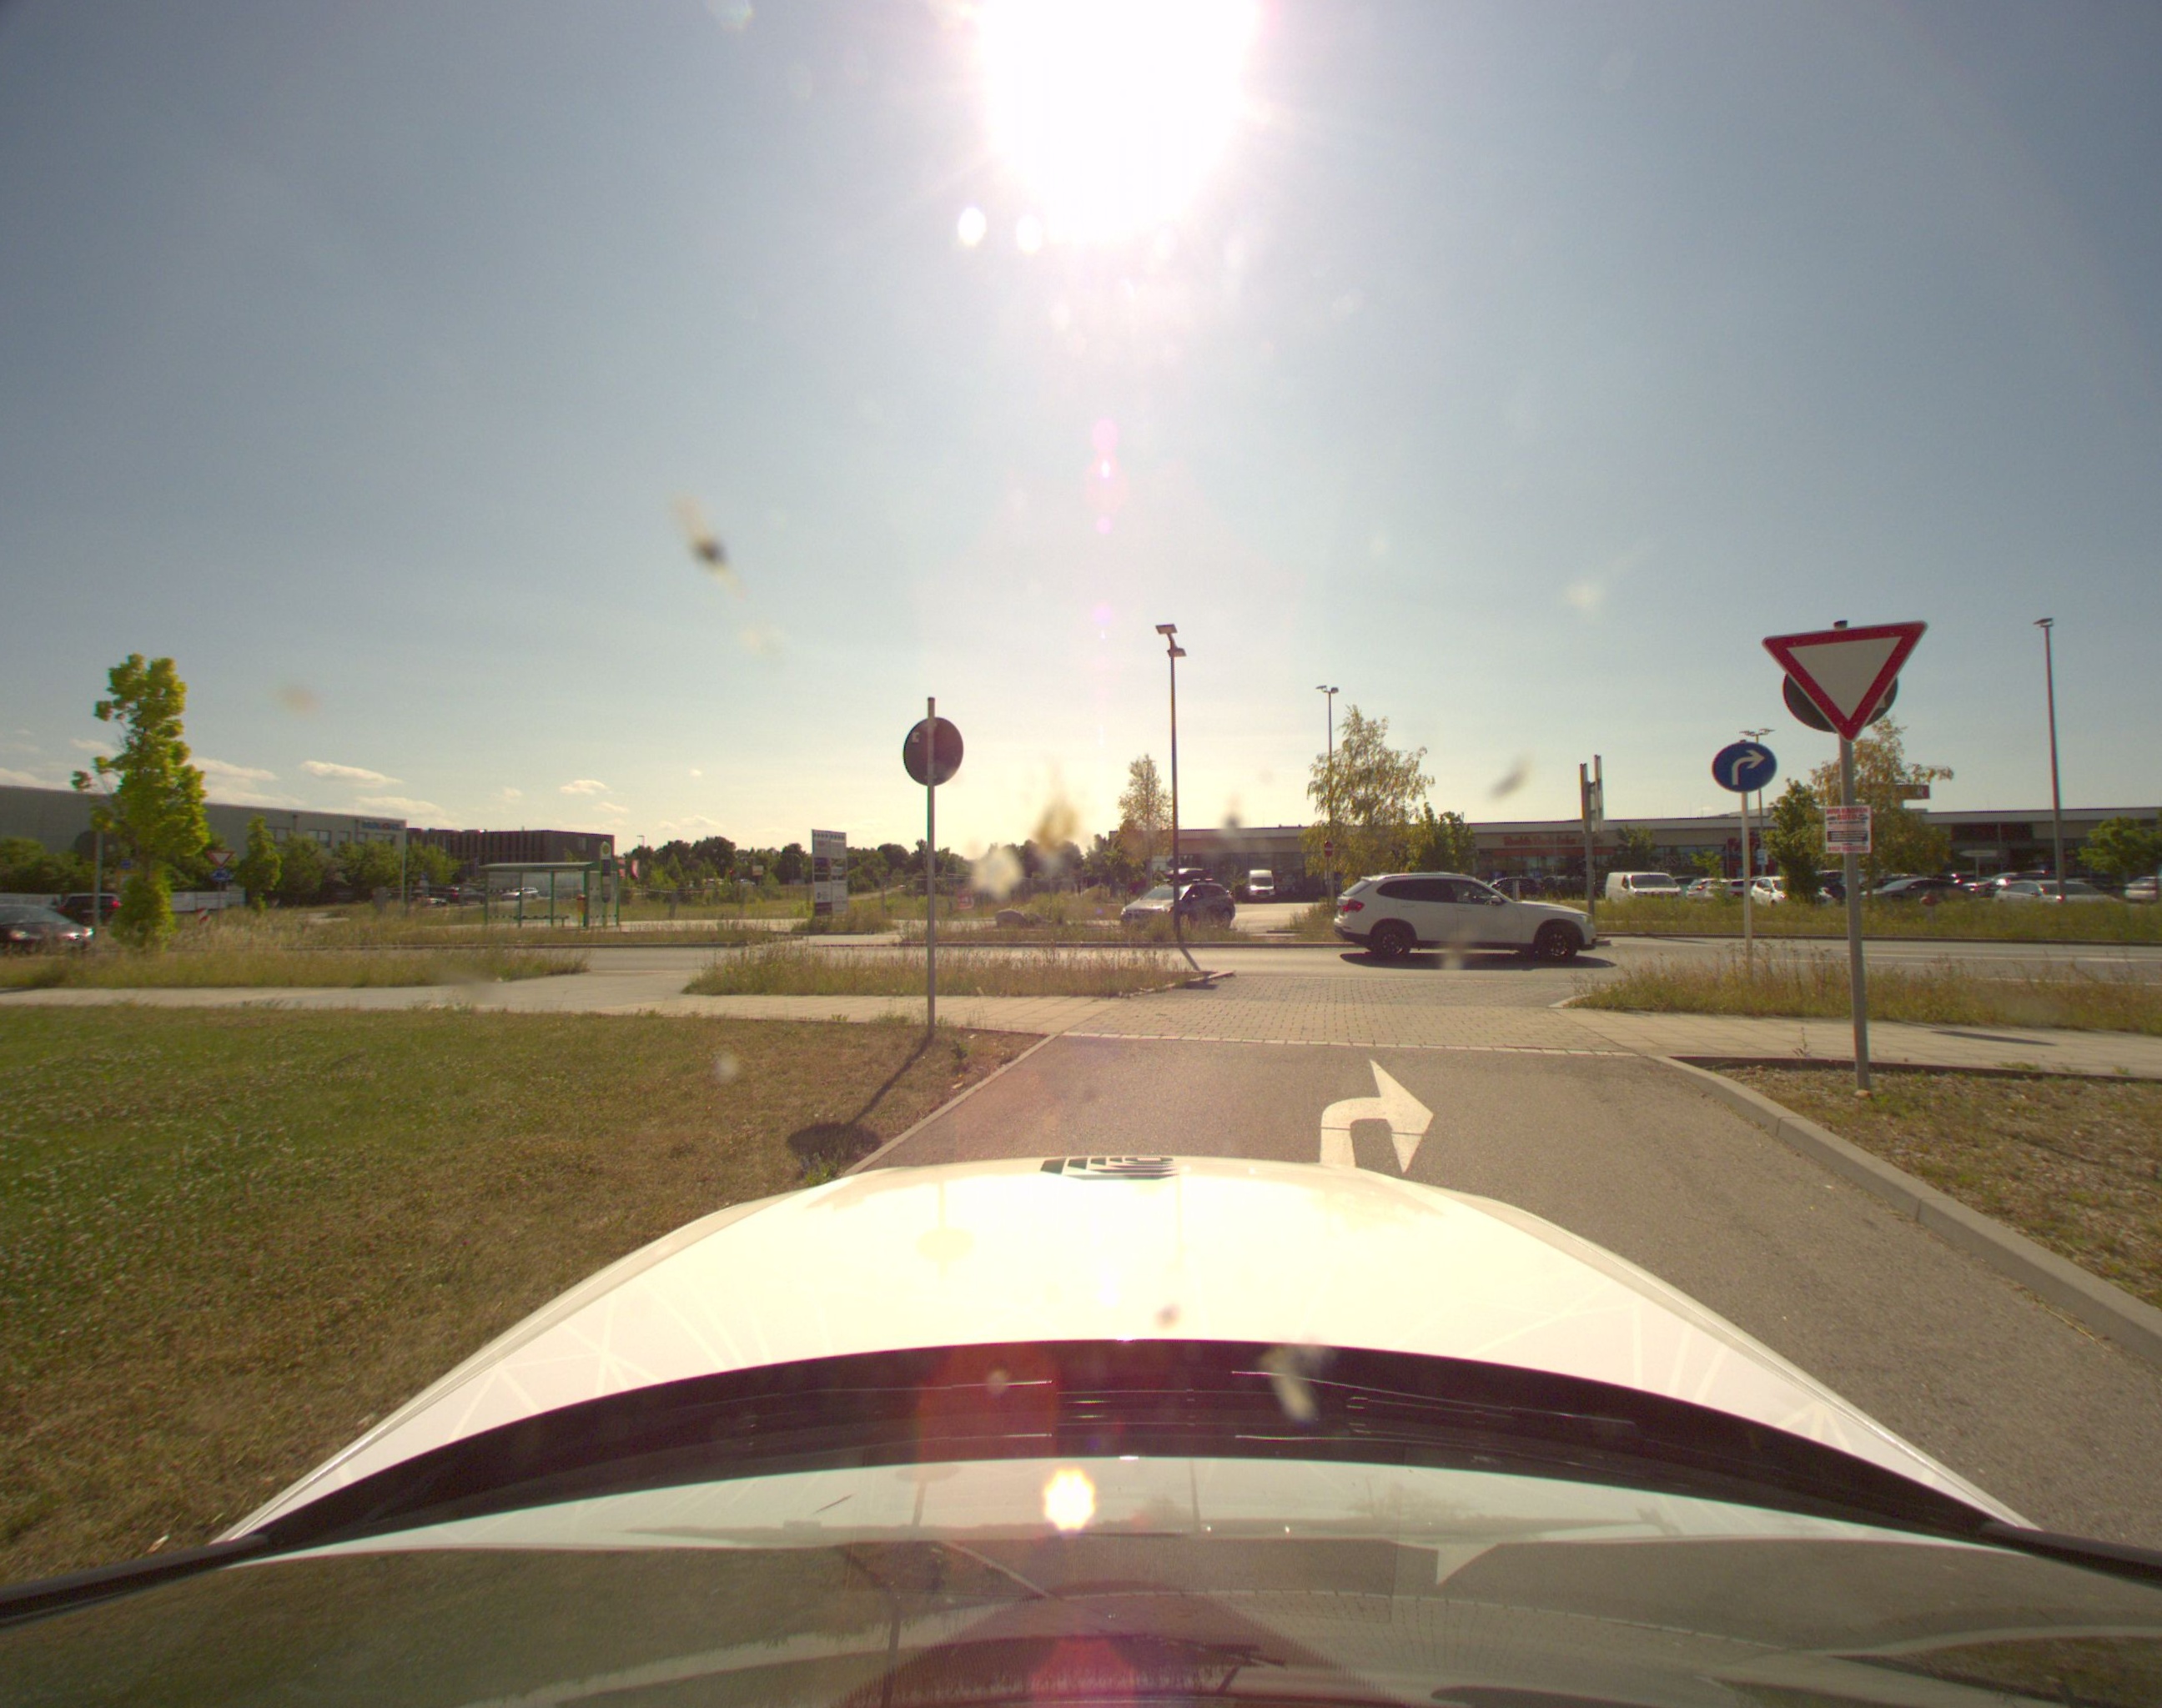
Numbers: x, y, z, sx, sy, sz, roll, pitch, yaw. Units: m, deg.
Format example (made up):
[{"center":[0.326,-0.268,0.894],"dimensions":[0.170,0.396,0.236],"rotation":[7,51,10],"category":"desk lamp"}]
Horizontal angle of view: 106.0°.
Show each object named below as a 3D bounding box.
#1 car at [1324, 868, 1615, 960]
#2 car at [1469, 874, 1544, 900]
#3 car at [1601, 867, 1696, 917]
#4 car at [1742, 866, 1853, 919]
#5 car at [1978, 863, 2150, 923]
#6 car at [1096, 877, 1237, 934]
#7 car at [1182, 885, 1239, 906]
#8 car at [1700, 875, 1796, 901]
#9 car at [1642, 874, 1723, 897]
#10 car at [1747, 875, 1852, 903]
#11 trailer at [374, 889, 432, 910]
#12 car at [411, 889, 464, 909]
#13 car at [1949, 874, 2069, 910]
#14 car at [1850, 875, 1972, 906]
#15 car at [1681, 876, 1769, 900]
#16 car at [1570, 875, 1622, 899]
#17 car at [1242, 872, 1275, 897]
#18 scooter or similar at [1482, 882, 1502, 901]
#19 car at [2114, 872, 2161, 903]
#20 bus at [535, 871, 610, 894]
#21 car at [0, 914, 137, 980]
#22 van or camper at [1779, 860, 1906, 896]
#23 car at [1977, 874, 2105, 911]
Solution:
[{"center":[6.918,1.063,14.984],"dimensions":[4.526,1.551,1.746],"rotation":[0,-3,10],"category":"car"},{"center":[26.261,2.058,50.371],"dimensions":[3.767,1.509,1.738],"rotation":[-1,-2,13],"category":"car"},{"center":[24.443,1.615,35.319],"dimensions":[2.063,2.014,5.254],"rotation":[-1,-2,20],"category":"car"},{"center":[29.285,1.541,33.489],"dimensions":[2.137,2.014,5.145],"rotation":[-1,-2,27],"category":"car"},{"center":[36.390,1.410,30.400],"dimensions":[2.137,2.014,5.145],"rotation":[-1,-2,27],"category":"car"},{"center":[2.587,1.472,23.938],"dimensions":[1.975,1.517,4.221],"rotation":[-2,-4,43],"category":"car"},{"center":[8.953,2.860,56.382],"dimensions":[3.810,1.423,1.776],"rotation":[0,-3,9],"category":"car"},{"center":[36.861,1.893,45.103],"dimensions":[3.697,1.391,1.736],"rotation":[-1,-2,9],"category":"car"},{"center":[37.635,1.979,51.032],"dimensions":[3.697,1.391,1.736],"rotation":[-1,-2,9],"category":"car"},{"center":[37.245,1.810,42.309],"dimensions":[3.697,1.391,1.736],"rotation":[-1,-2,9],"category":"car"},{"center":[-61.121,4.095,73.498],"dimensions":[1.816,1.860,3.998],"rotation":[0,-3,0],"category":"trailer"},{"center":[-61.090,4.265,77.395],"dimensions":[1.816,1.860,3.998],"rotation":[0,-3,0],"category":"car"},{"center":[57.029,2.348,50.171],"dimensions":[4.435,2.123,2.008],"rotation":[-1,-3,17],"category":"car"},{"center":[42.544,1.869,41.830],"dimensions":[3.958,1.508,1.881],"rotation":[-1,-3,14],"category":"car"},{"center":[37.888,1.999,47.985],"dimensions":[3.697,1.391,1.736],"rotation":[-1,-2,9],"category":"car"},{"center":[38.797,2.477,61.415],"dimensions":[1.980,1.707,4.012],"rotation":[-1,-2,12],"category":"car"},{"center":[14.539,2.500,67.091],"dimensions":[2.209,1.977,6.711],"rotation":[-1,-2,9],"category":"car"},{"center":[24.716,2.255,48.996],"dimensions":[0.936,1.079,0.655],"rotation":[-1,-2,17],"category":"scooter or similar"},{"center":[54.008,1.639,39.734],"dimensions":[4.304,1.520,1.661],"rotation":[-1,-3,14],"category":"car"},{"center":[-61.613,3.439,99.079],"dimensions":[2.567,2.735,11.548],"rotation":[0,-2,-4],"category":"bus"},{"center":[-27.702,2.406,21.360],"dimensions":[3.809,1.550,2.004],"rotation":[-1,-2,8],"category":"car"},{"center":[43.922,1.402,47.126],"dimensions":[4.998,2.014,2.008],"rotation":[-1,-2,14],"category":"van or camper"},{"center":[56.004,2.247,47.611],"dimensions":[4.435,2.103,2.008],"rotation":[-1,-3,17],"category":"car"}]
